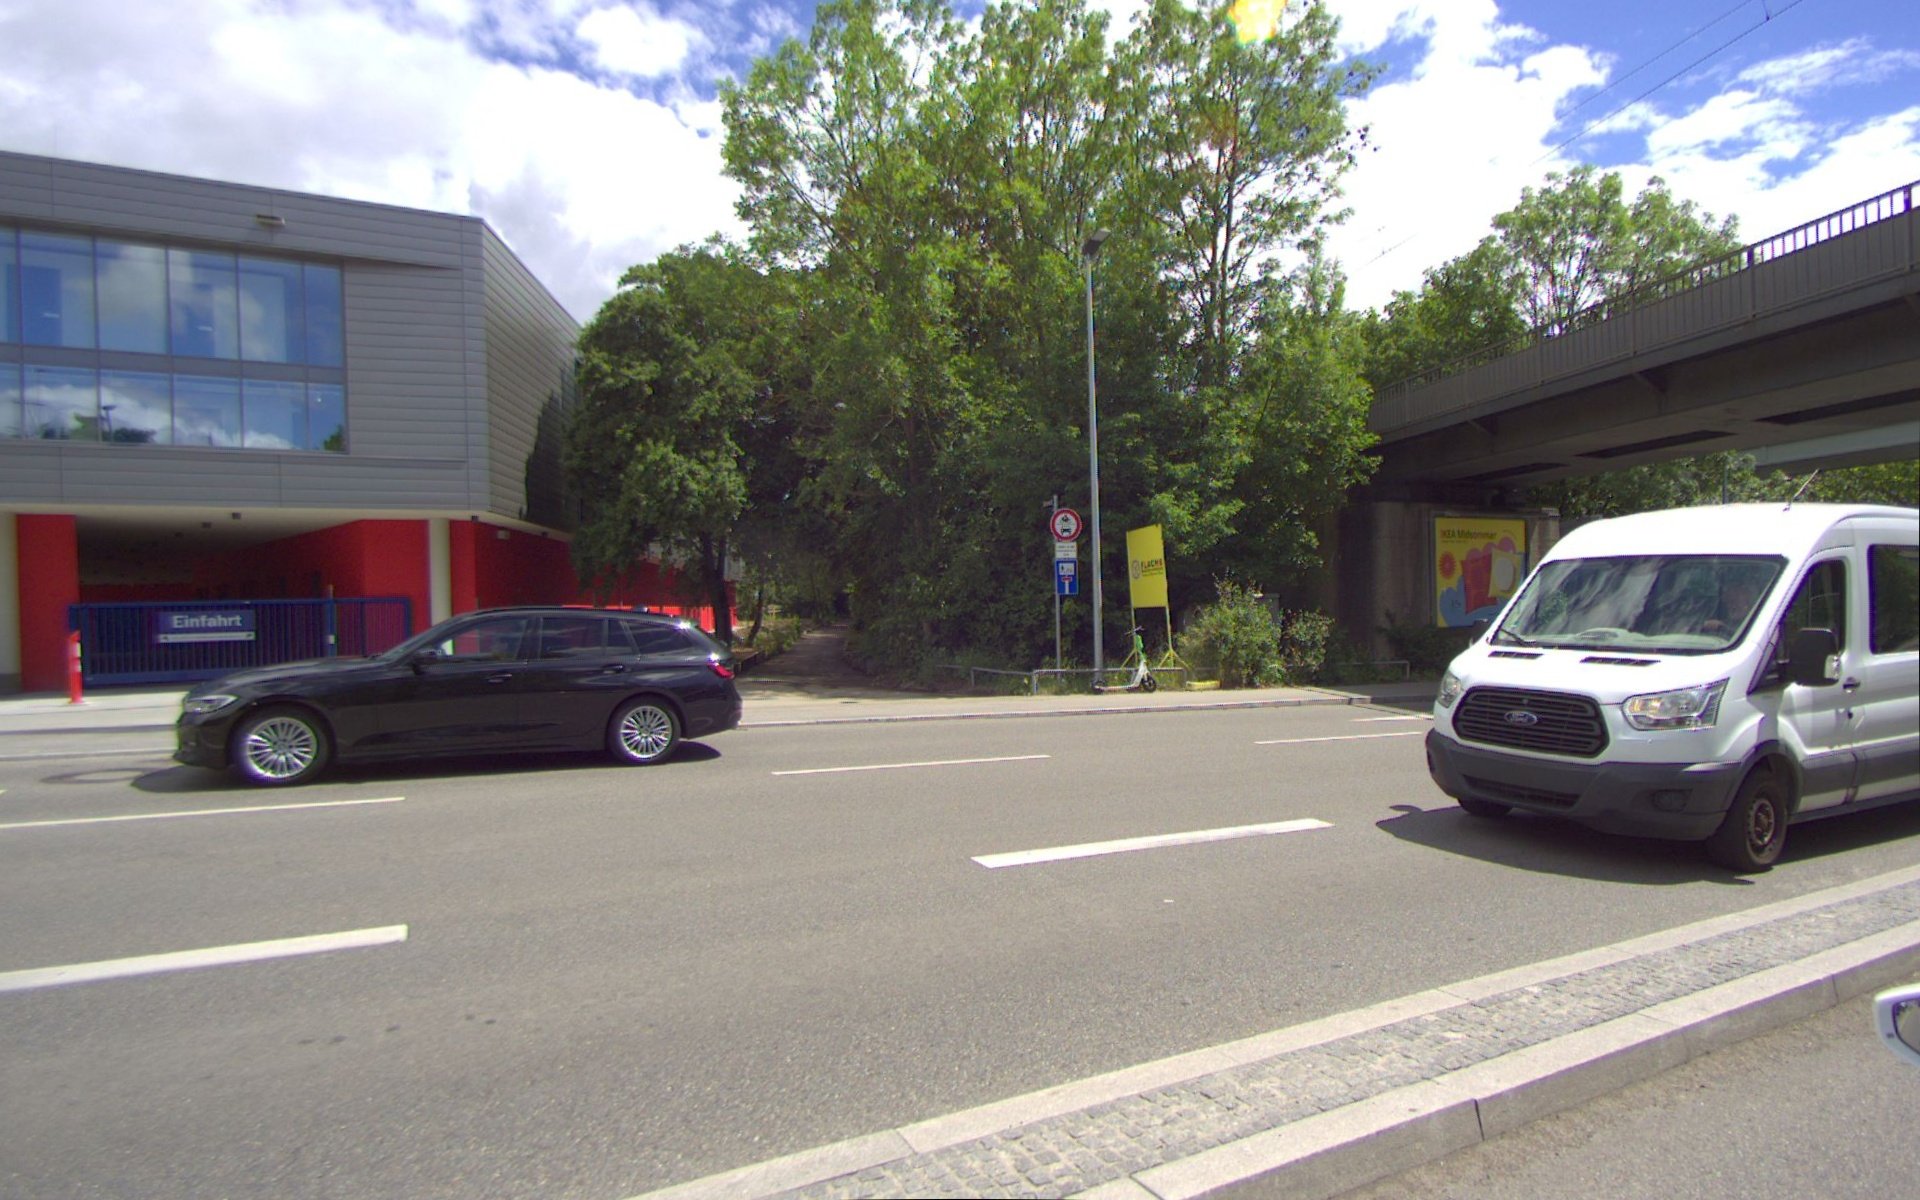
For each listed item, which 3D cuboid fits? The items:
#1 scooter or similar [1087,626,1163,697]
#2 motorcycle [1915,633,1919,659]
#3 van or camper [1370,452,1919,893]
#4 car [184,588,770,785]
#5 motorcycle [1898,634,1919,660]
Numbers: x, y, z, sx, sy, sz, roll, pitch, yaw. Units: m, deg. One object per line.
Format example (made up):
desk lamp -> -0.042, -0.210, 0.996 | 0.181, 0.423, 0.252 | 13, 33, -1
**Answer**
scooter or similar -> 2.953, 1.077, 17.952 | 1.246, 1.227, 0.609 | 1, -1, -30
motorcycle -> 40.480, 1.910, 40.706 | 0.664, 1.064, 2.546 | 1, -1, -22
van or camper -> 6.231, 0.477, 7.945 | 6.319, 2.433, 2.000 | 1, -1, -28
car -> -4.230, 0.729, 9.387 | 4.502, 1.475, 1.723 | 2, -1, -29
motorcycle -> 39.355, 1.909, 40.258 | 0.664, 1.064, 2.546 | 1, -1, -22
